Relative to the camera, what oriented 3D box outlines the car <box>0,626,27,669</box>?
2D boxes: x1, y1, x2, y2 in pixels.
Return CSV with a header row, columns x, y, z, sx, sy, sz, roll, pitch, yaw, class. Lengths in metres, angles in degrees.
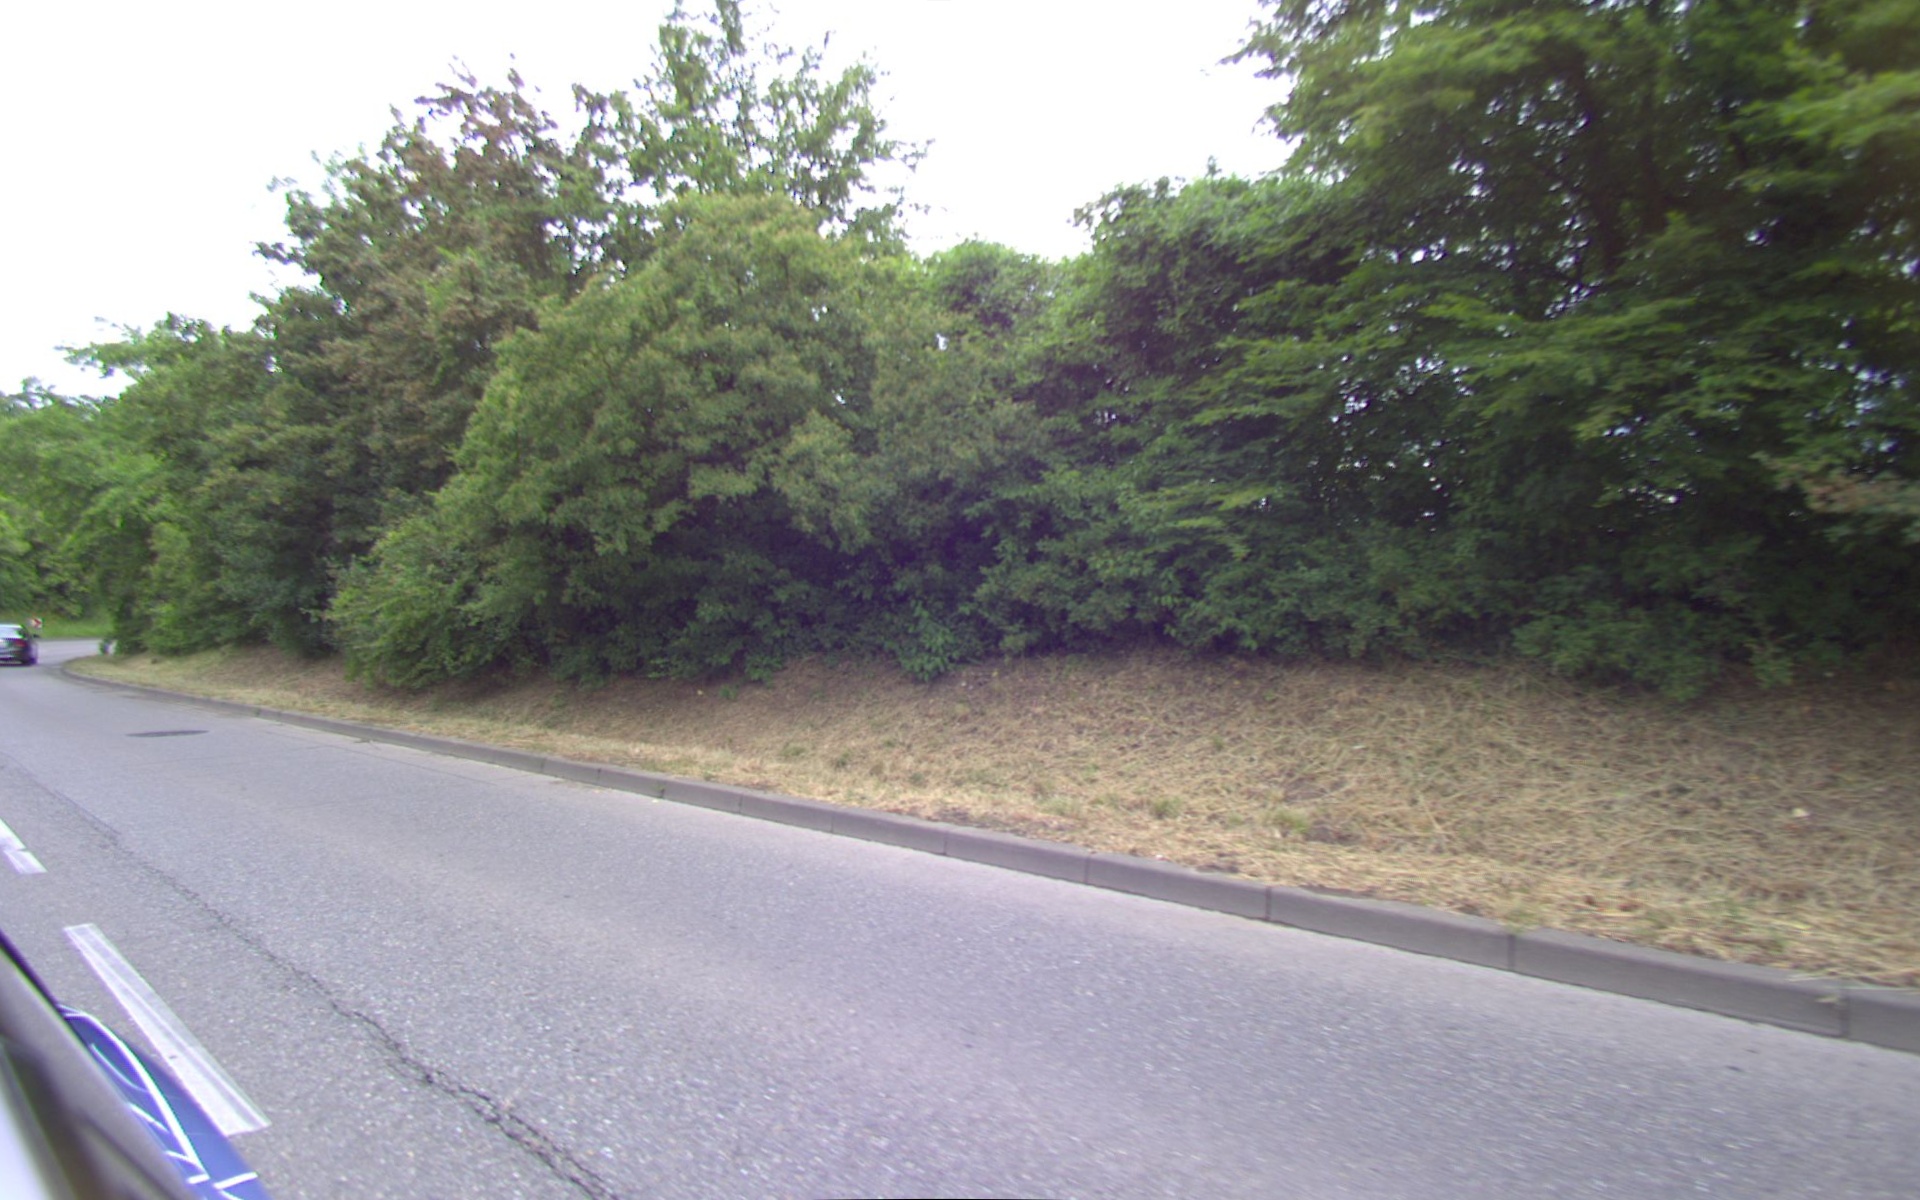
x,y,z,sx,sy,sz,roll,pitch,yaw,class
-33.797,1.646,35.275,1.809,1.416,4.437,0,-1,-42,car
